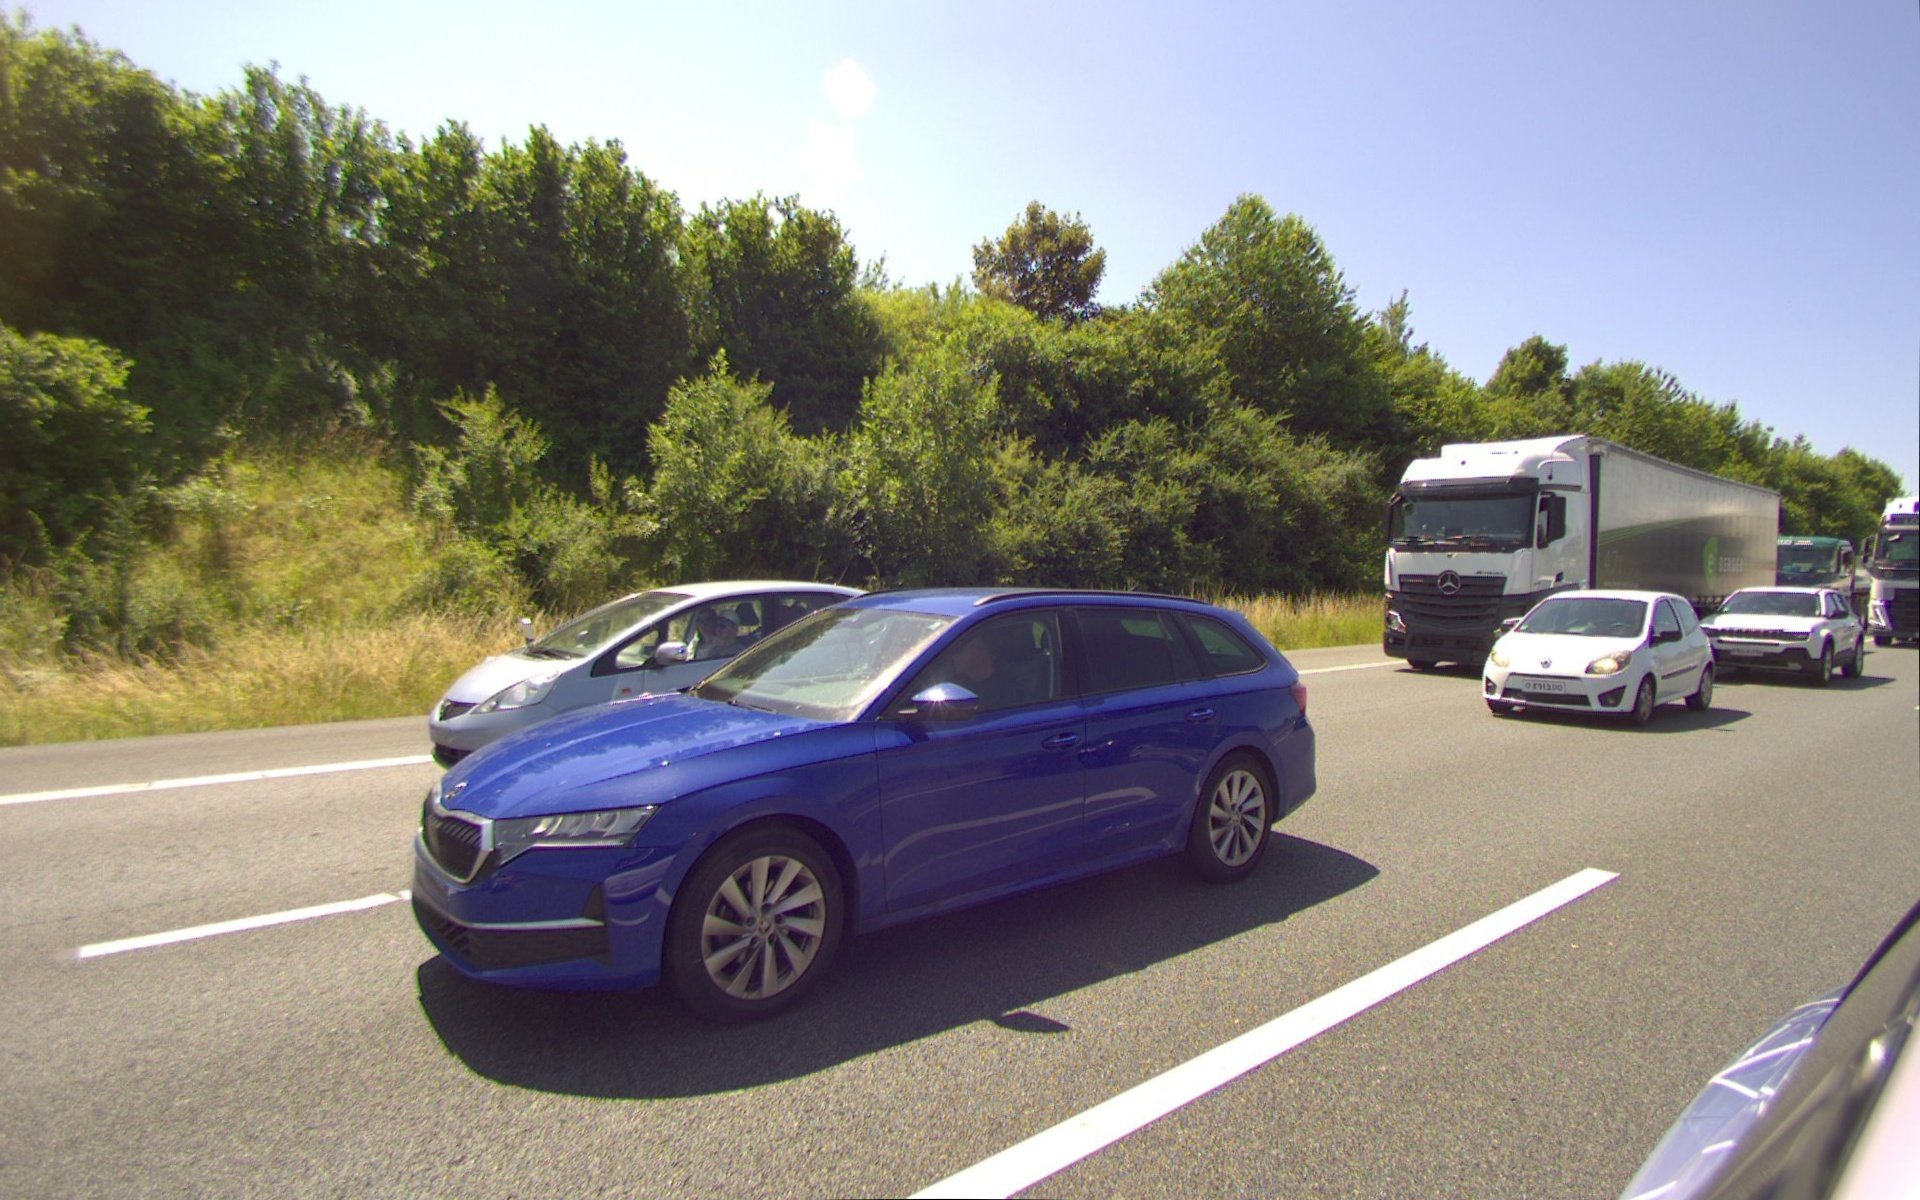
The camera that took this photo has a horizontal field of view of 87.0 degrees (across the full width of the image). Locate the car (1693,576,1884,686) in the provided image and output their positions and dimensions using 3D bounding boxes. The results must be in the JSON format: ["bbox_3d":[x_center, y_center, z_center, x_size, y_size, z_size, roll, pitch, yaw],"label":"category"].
[{"bbox_3d":[13.936,0.417,16.959,3.816,1.577,1.748,-1,3,-40],"label":"car"}]

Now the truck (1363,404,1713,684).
[{"bbox_3d":[11.091,-0.926,18.978,8.322,4.208,2.880,-1,1,-39],"label":"truck"}]

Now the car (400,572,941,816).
[{"bbox_3d":[-2.160,0.543,8.141,3.854,1.479,1.665,-1,2,-42],"label":"car"}]

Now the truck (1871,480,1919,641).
[{"bbox_3d":[27.631,-1.037,27.686,8.210,4.044,2.750,-1,1,-39],"label":"truck"}]

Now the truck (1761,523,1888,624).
[{"bbox_3d":[29.630,-0.899,34.615,5.573,3.185,2.300,-1,1,-39],"label":"truck"}]

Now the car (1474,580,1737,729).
[{"bbox_3d":[7.827,0.520,12.159,3.743,1.451,1.609,-1,3,-40],"label":"car"}]

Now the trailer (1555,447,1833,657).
[{"bbox_3d":[18.728,-1.065,25.303,11.862,4.208,2.878,-1,1,-40],"label":"trailer"}]

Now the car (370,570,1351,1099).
[{"bbox_3d":[-0.142,0.587,4.899,4.490,1.434,1.781,-1,3,-39],"label":"car"}]
